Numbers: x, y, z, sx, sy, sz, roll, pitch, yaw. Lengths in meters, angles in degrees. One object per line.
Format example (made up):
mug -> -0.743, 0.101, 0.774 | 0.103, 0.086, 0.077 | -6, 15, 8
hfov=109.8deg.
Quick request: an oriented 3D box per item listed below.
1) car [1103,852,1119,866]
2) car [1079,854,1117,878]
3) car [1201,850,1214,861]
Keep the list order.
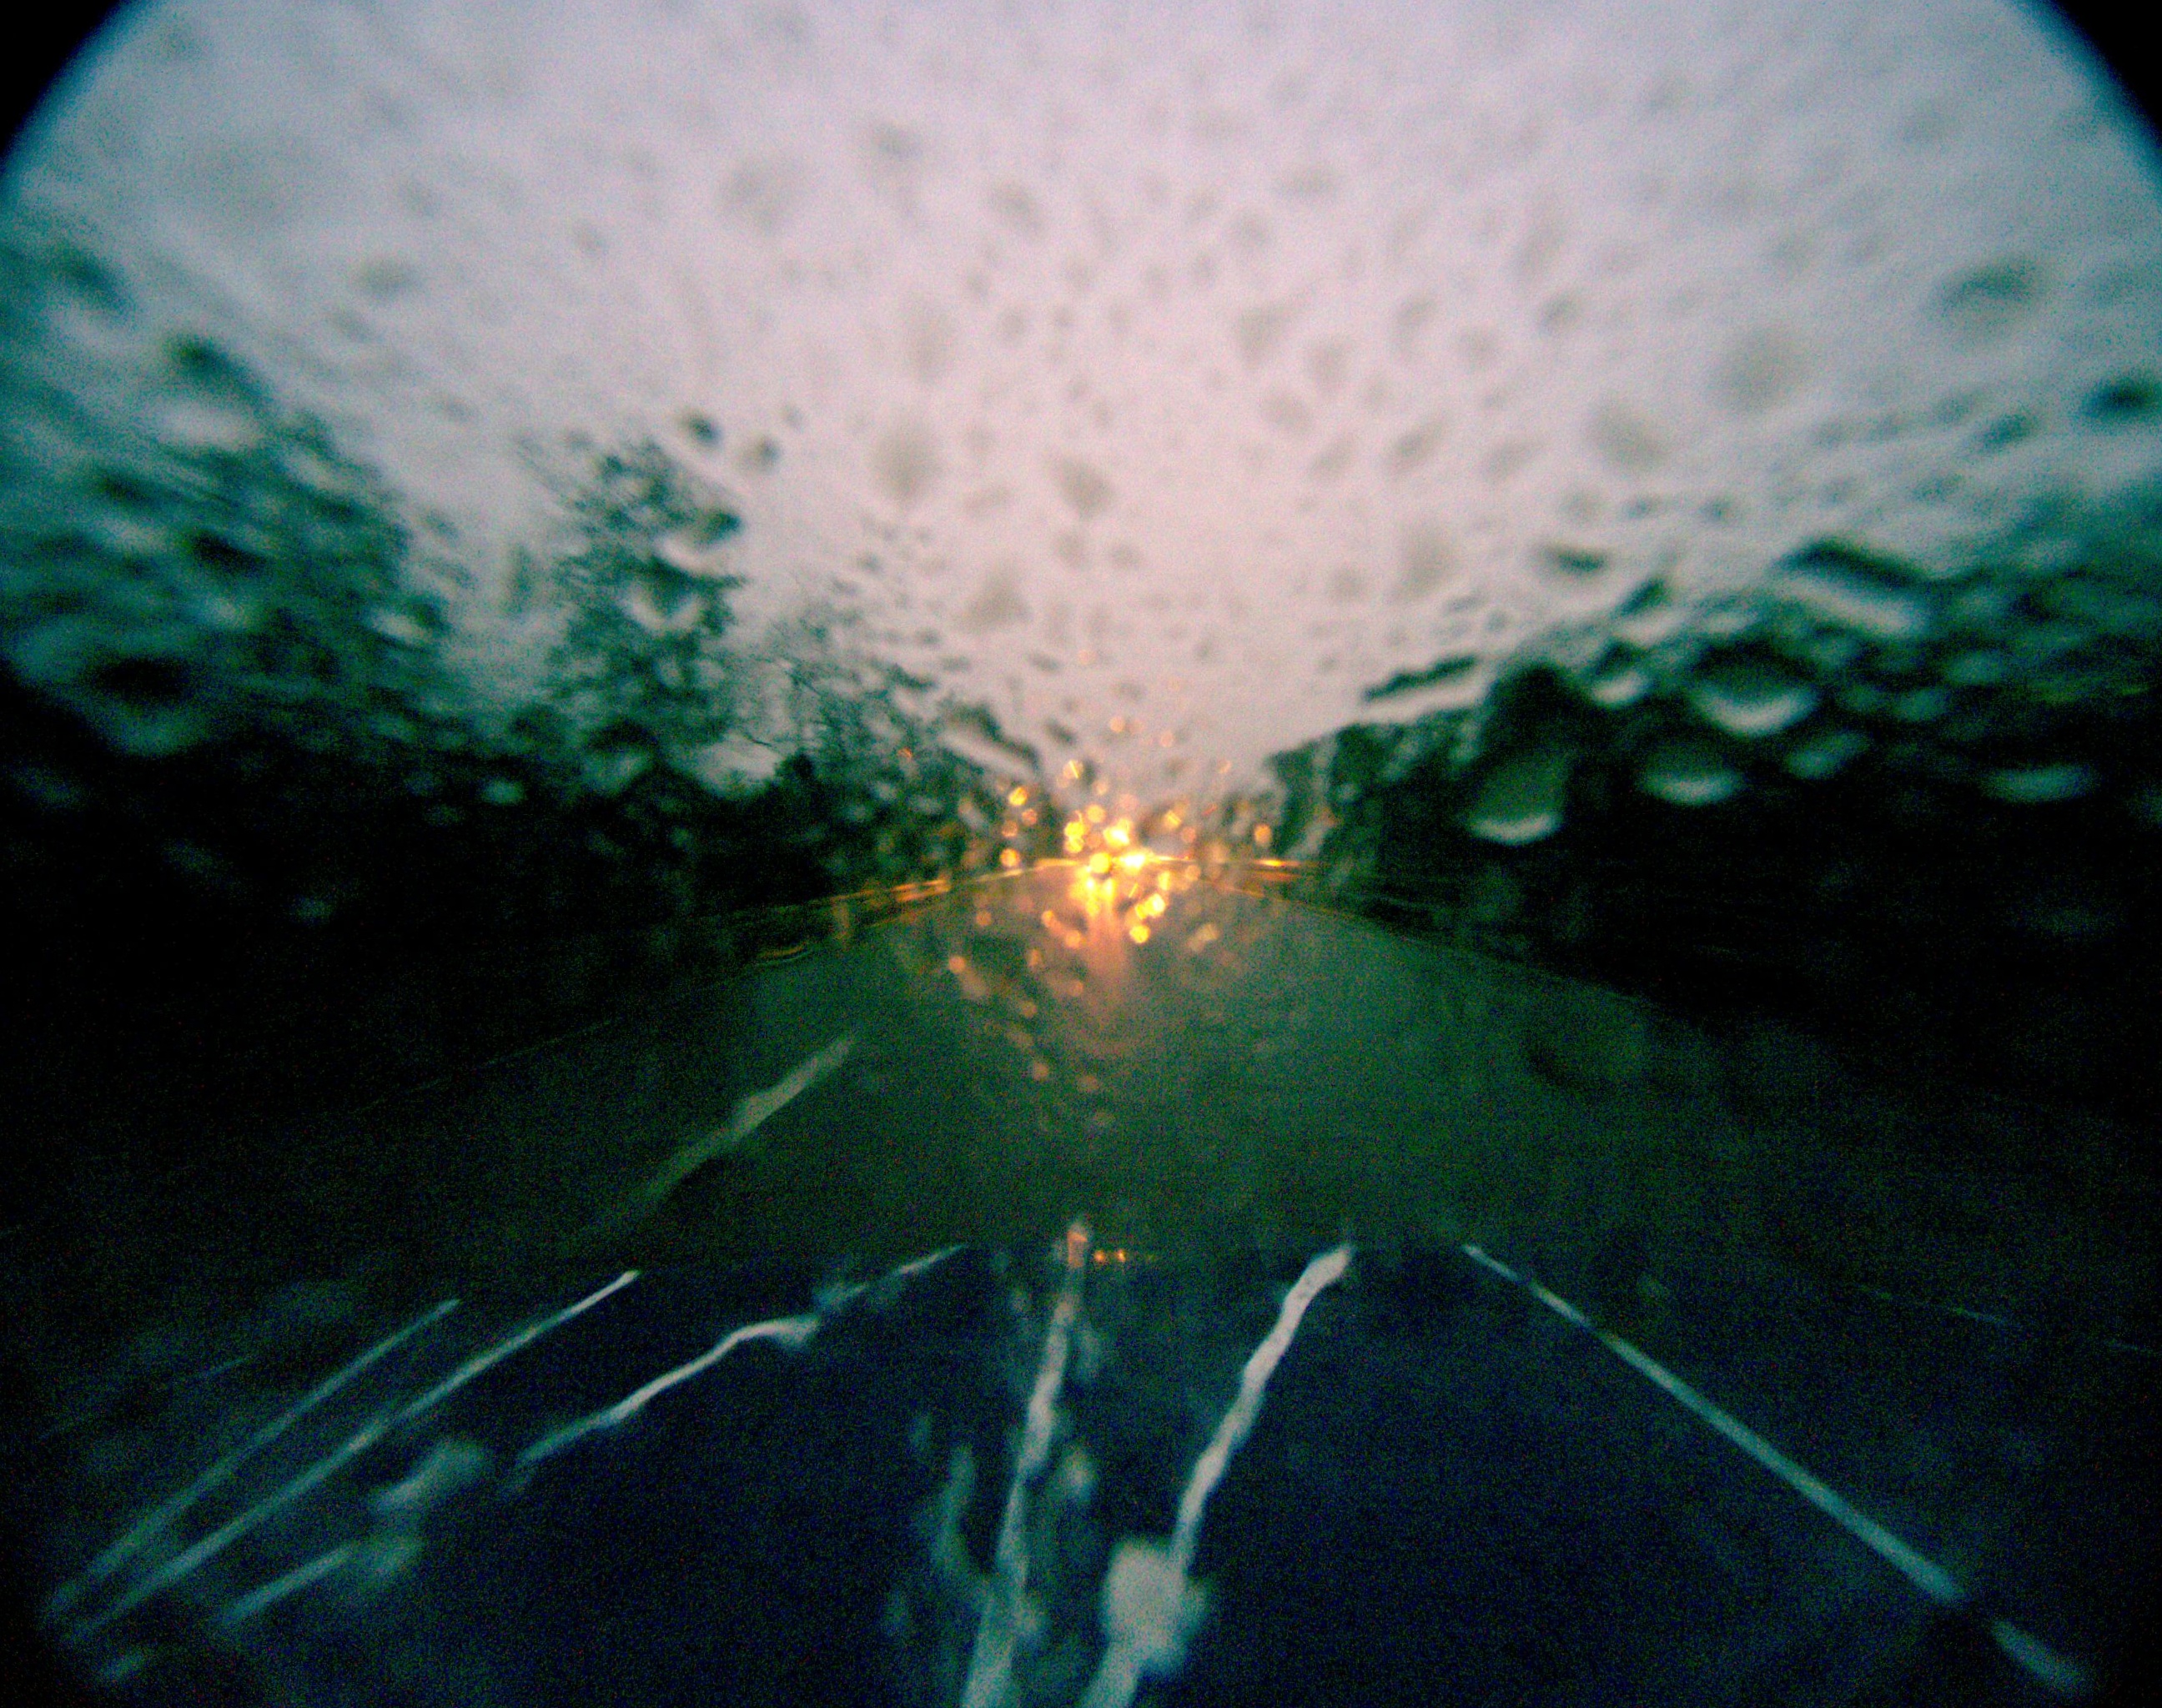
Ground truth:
car -> 3.813, 0.639, 97.248 | 1.841, 1.553, 3.868 | -4, 0, 2
car -> 1.201, 0.782, 51.267 | 1.951, 1.511, 4.790 | -2, 0, 8
car -> 22.077, 0.177, 132.343 | 1.647, 1.775, 4.208 | -4, 0, 3
